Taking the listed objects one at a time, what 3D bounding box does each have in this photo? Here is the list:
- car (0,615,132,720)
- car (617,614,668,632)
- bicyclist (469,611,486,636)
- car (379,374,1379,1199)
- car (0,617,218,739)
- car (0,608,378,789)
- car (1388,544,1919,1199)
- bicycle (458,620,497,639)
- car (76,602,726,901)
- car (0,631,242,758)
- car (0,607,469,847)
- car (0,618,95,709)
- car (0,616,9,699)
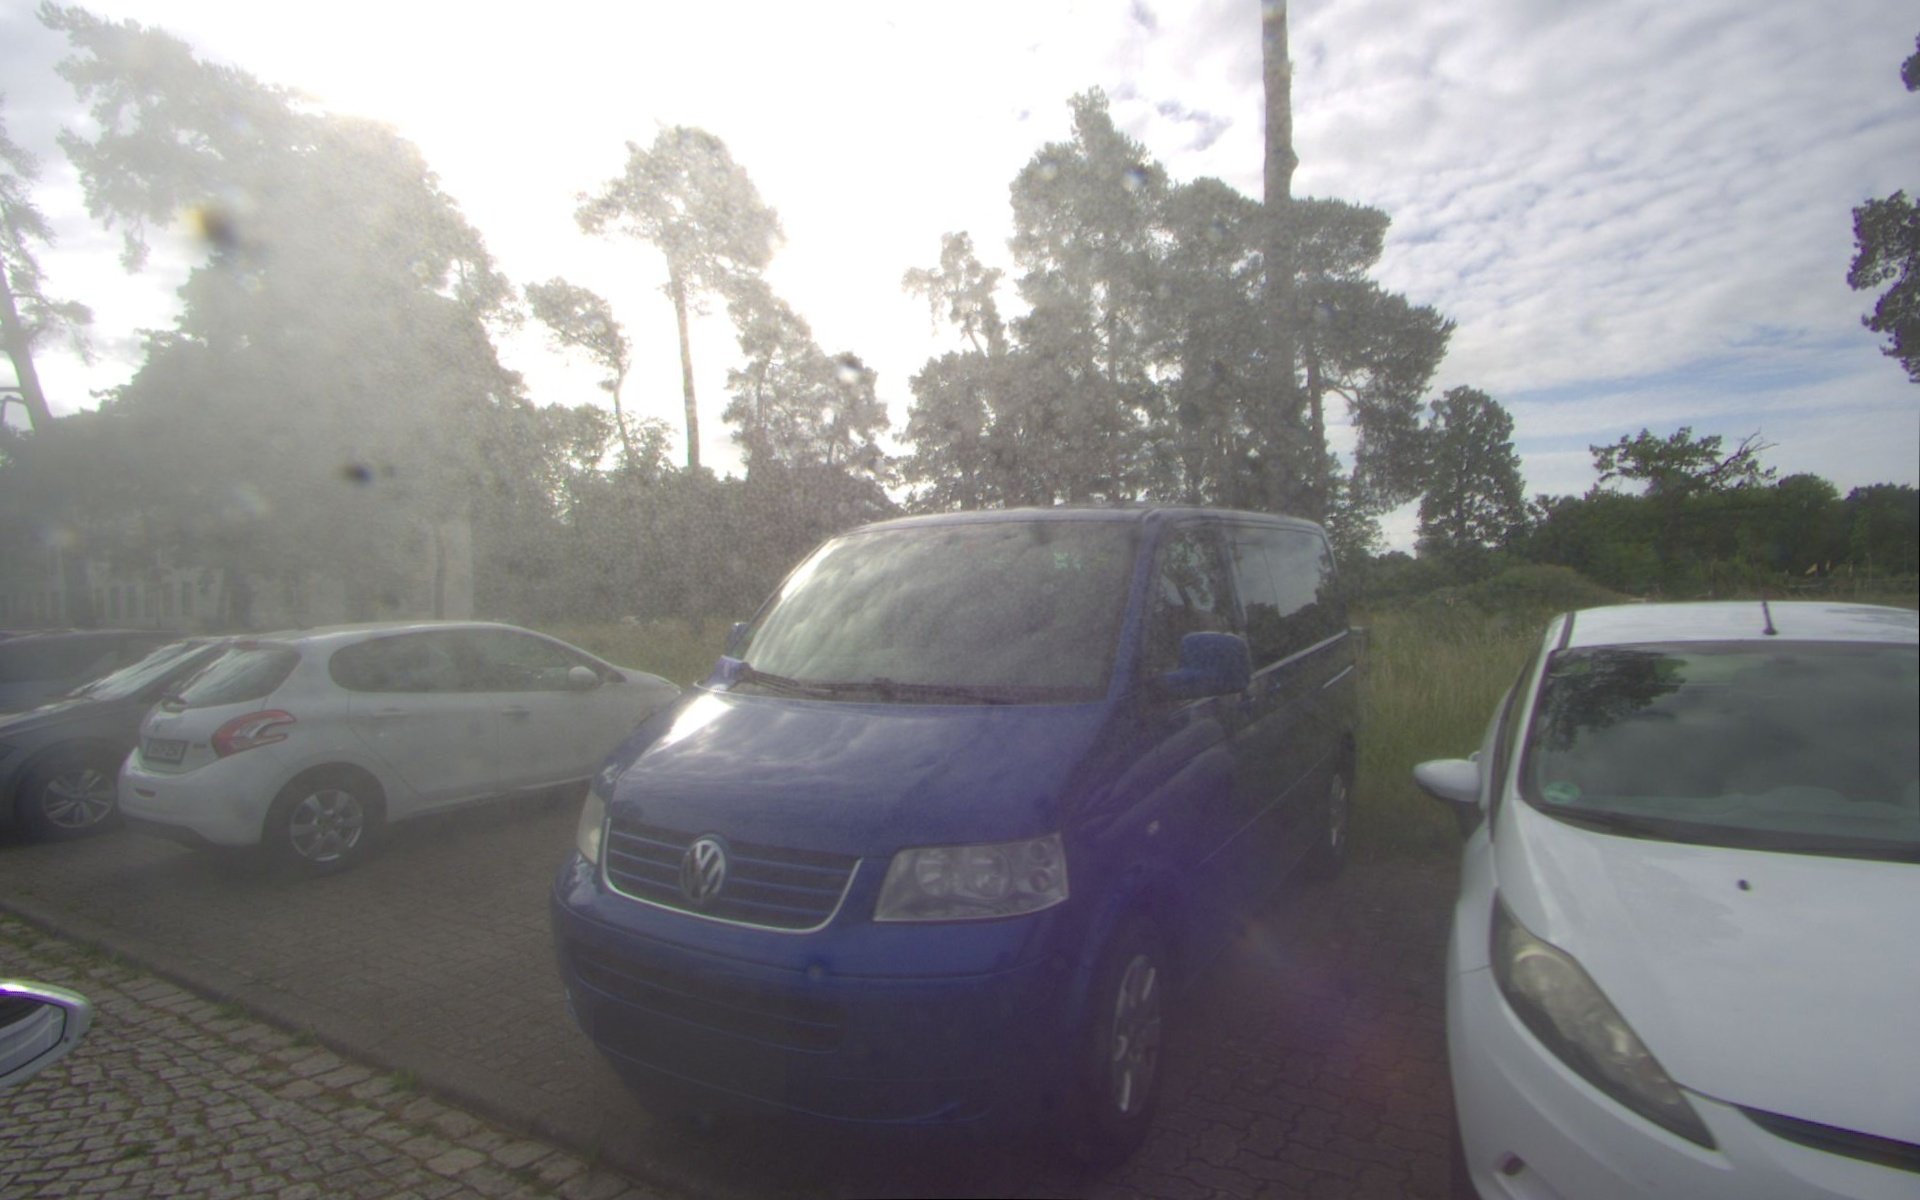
[{"bbox_3d":[-14.890,1.043,14.234,1.840,1.436,4.422,-1,1,23],"label":"car"},{"bbox_3d":[-26.757,1.958,84.468,1.628,1.439,3.939,-1,-3,34],"label":"car"},{"bbox_3d":[-27.916,1.365,57.933,0.598,1.429,0.745,-1,0,42],"label":"bicyclist"},{"bbox_3d":[0.438,0.519,4.423,1.974,1.972,4.798,-1,1,30],"label":"car"},{"bbox_3d":[-12.803,1.049,13.361,1.844,1.436,4.252,-1,1,31],"label":"car"},{"bbox_3d":[-8.604,0.913,10.573,1.732,1.492,3.854,-1,1,30],"label":"car"},{"bbox_3d":[2.533,0.650,3.004,1.814,1.493,3.853,-1,4,30],"label":"car"},{"bbox_3d":[-27.914,1.718,57.947,0.598,1.038,1.944,-1,0,42],"label":"bicycle"},{"bbox_3d":[-3.811,0.836,7.503,1.733,1.492,3.852,-1,2,33],"label":"car"},{"bbox_3d":[-10.997,1.100,11.697,1.732,1.253,3.854,-1,1,30],"label":"car"},{"bbox_3d":[-6.521,0.891,8.554,1.731,1.492,3.857,-1,1,28],"label":"car"},{"bbox_3d":[-17.018,1.117,15.829,1.843,1.436,4.673,-1,1,29],"label":"car"},{"bbox_3d":[-19.103,1.113,17.050,1.619,1.497,3.916,-1,2,33],"label":"car"}]
